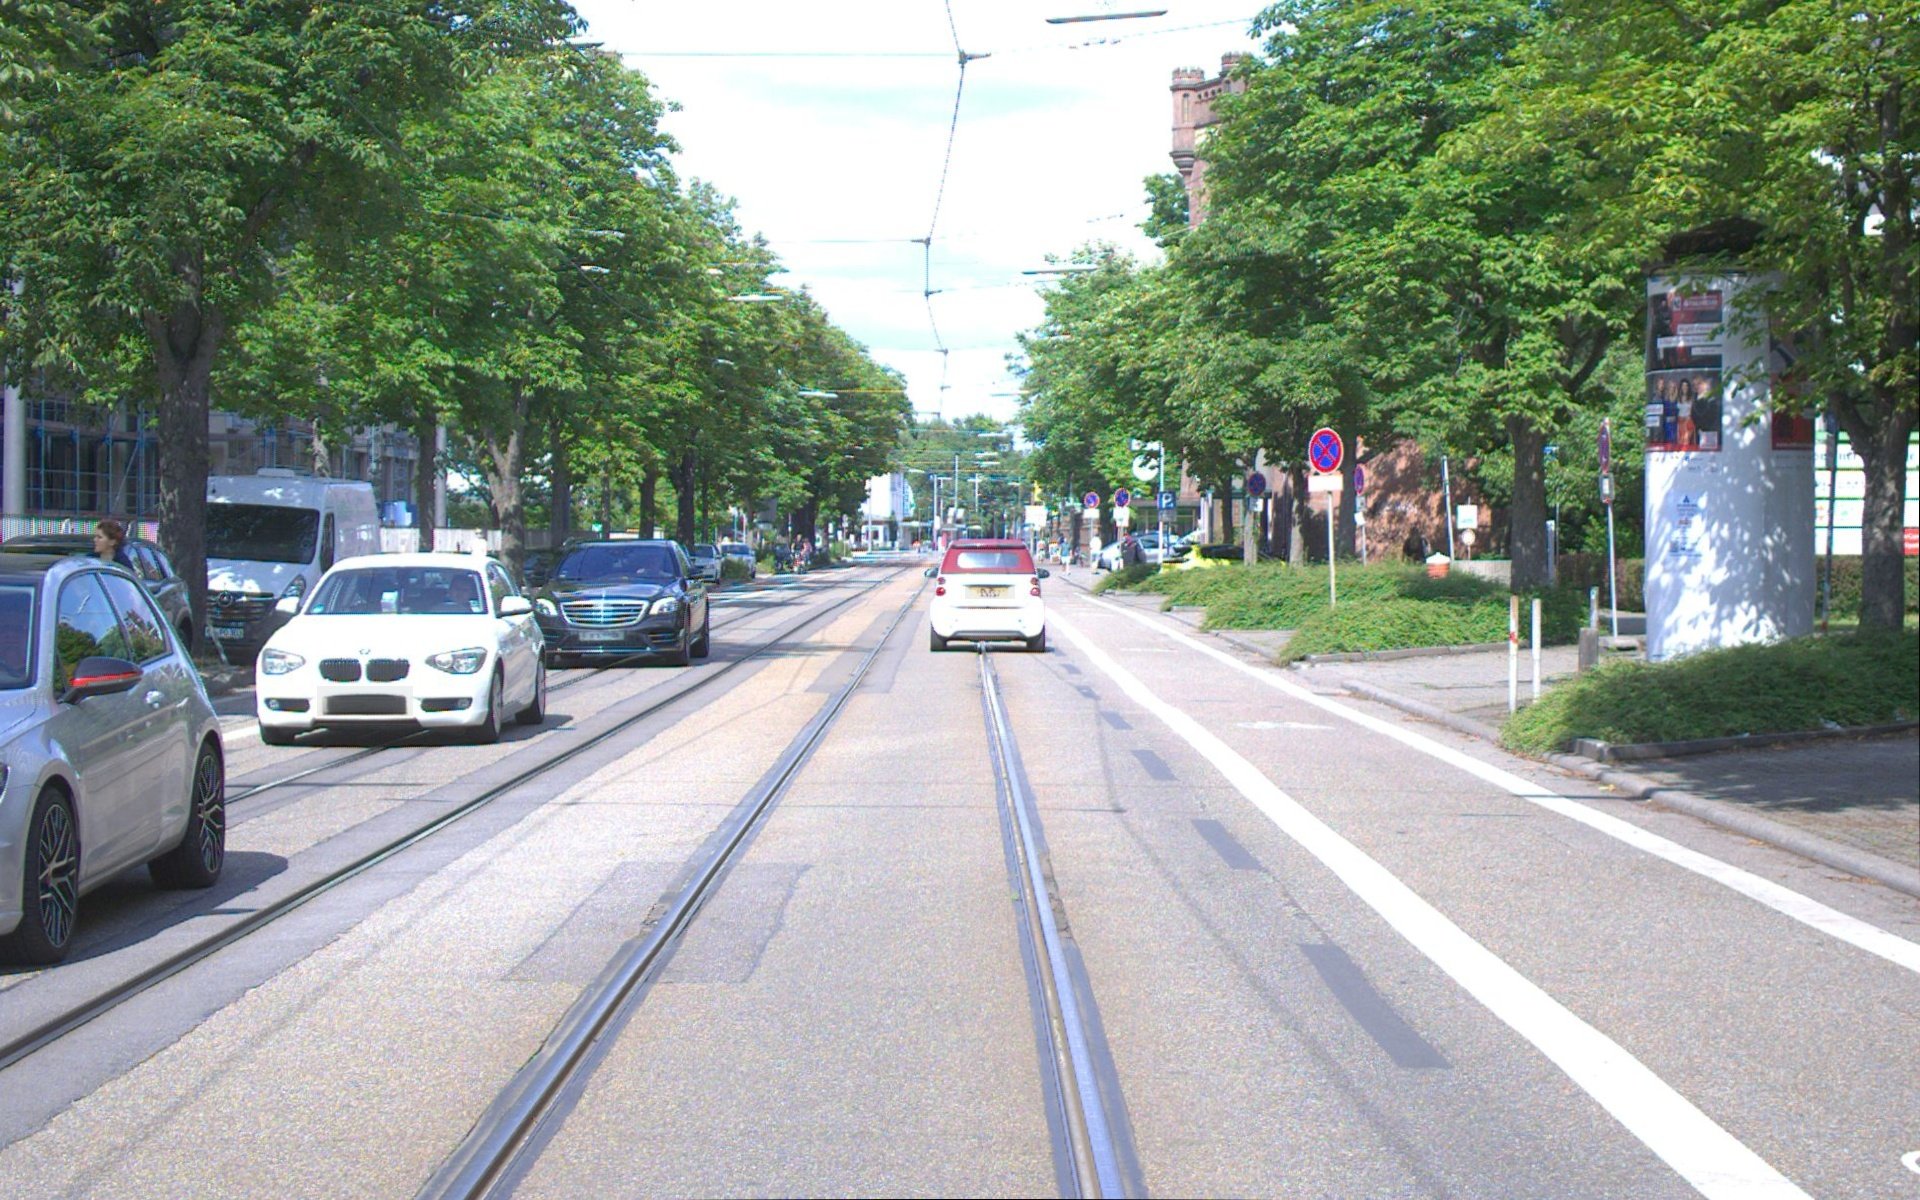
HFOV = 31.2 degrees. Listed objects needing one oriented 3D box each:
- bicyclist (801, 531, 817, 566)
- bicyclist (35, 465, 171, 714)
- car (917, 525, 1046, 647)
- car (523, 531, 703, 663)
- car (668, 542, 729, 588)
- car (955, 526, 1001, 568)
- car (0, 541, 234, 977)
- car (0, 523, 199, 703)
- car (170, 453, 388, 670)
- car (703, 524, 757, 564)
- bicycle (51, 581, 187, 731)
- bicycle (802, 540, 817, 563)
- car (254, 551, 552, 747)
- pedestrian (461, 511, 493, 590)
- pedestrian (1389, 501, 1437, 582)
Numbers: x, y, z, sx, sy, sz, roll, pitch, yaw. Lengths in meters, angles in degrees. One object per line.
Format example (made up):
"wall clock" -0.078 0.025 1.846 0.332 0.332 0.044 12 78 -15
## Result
"bicyclist" -6.773 -2.307 153.908 0.658 1.574 0.946 2 1 -2
"bicyclist" -7.086 -0.084 28.472 0.876 2.007 0.834 -2 0 -1
"car" 0.266 -0.222 47.924 1.665 1.619 3.621 0 2 -2
"car" -4.212 -0.067 42.292 1.800 1.503 4.536 1 1 -1
"car" -9.146 -1.232 120.469 1.804 1.511 4.103 2 1 0
"car" 0.687 -2.024 130.551 1.665 1.487 3.621 0 2 -1
"car" -4.030 0.500 13.023 1.773 1.411 3.852 -1 1 -1
"car" -9.014 0.082 34.514 1.804 1.656 4.103 2 1 0
"car" -8.866 -0.511 45.179 1.769 2.630 5.322 2 1 0
"car" -8.937 -2.201 133.670 1.804 1.511 4.103 1 1 0
"bicycle" -7.012 0.445 28.740 0.643 1.162 1.944 -3 1 -1
"bicycle" -6.758 -2.175 154.021 0.618 0.970 1.717 1 1 -1
"car" -4.232 0.319 26.691 1.686 1.401 4.227 0 1 -1
"pedestrian" -12.408 -1.268 88.285 0.802 2.007 0.485 0 1 -9
"pedestrian" 11.408 -1.468 86.630 0.977 2.007 1.093 2 1 -1
